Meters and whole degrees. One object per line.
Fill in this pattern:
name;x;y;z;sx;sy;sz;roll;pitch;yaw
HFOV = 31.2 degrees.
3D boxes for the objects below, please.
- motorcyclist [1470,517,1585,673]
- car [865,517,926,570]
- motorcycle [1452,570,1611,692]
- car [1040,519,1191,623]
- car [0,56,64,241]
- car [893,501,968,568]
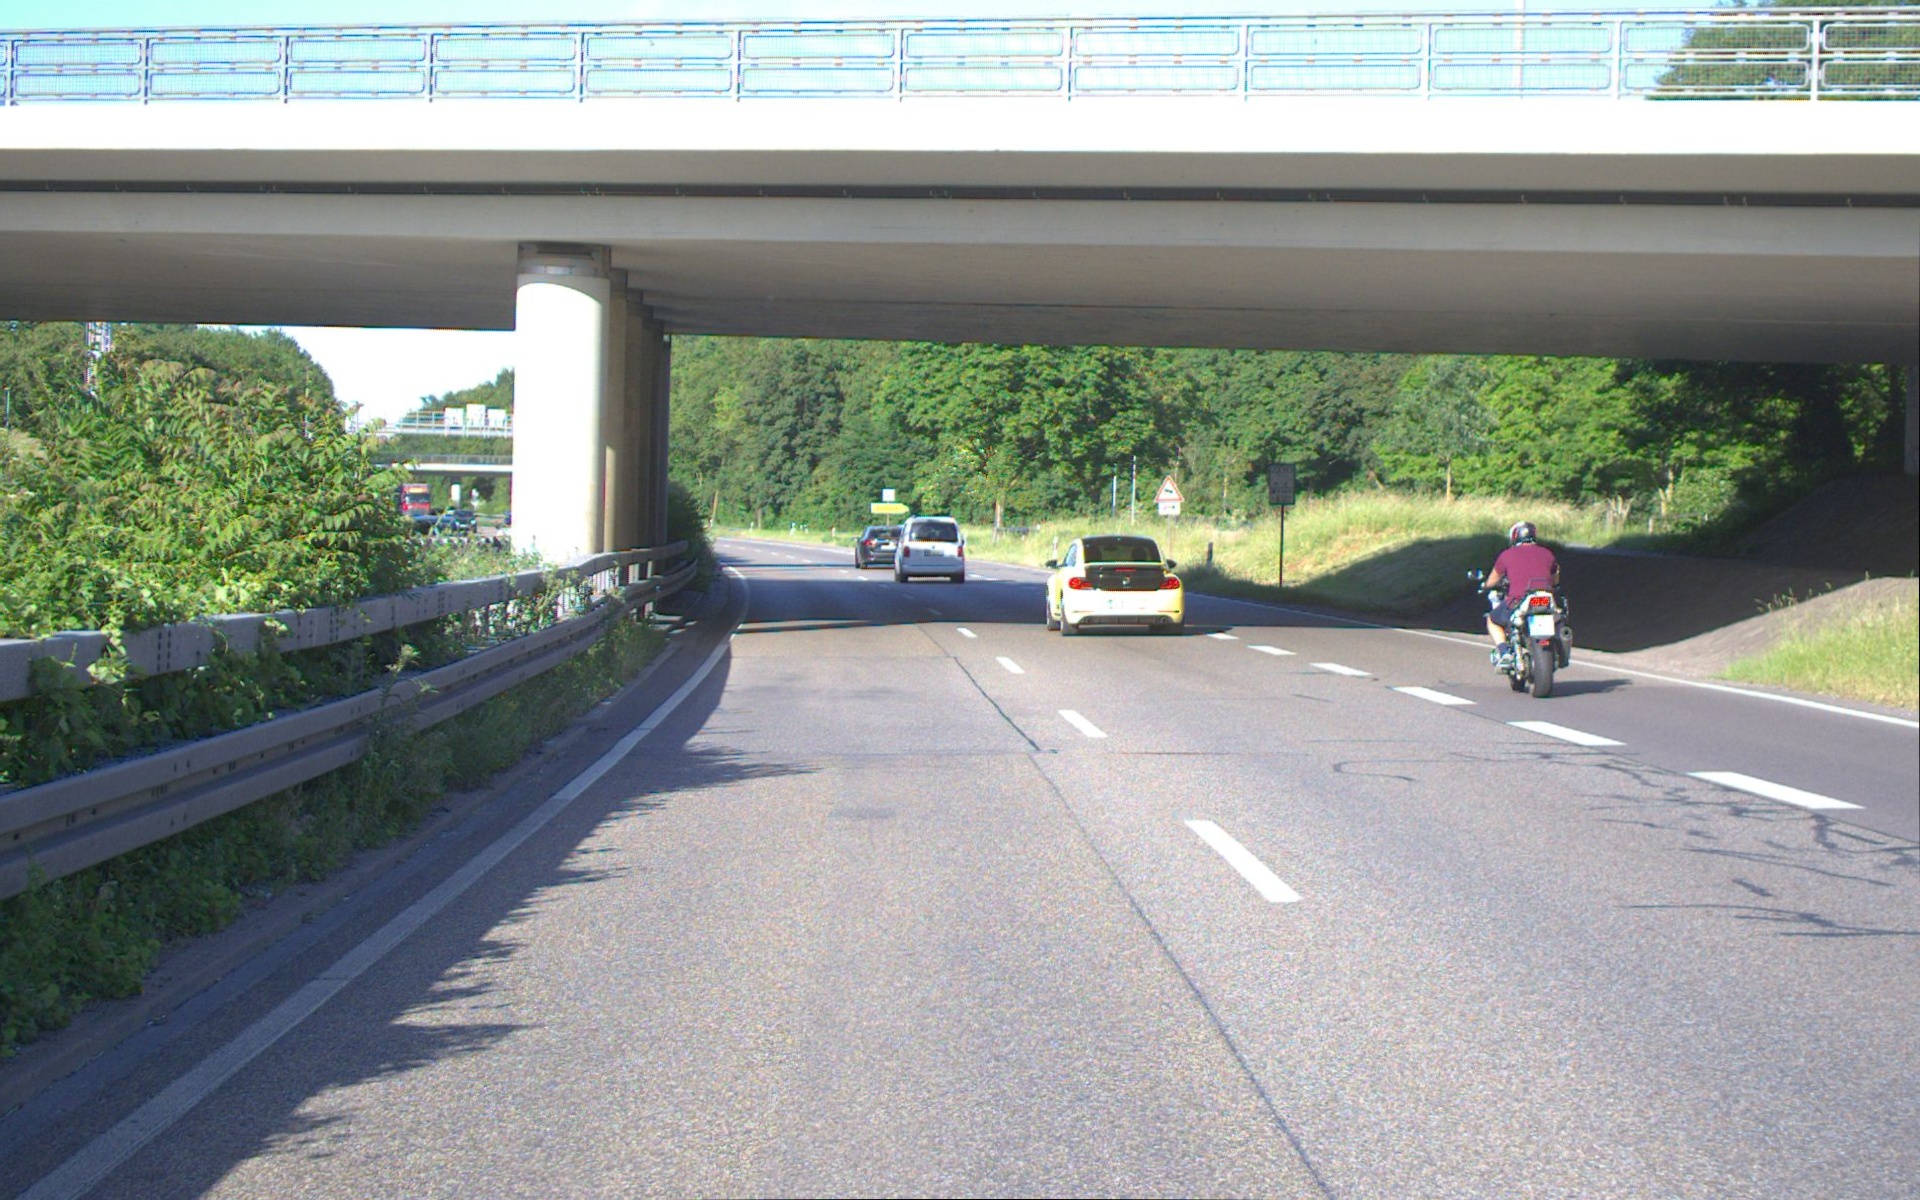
motorcyclist;5.366;-0.060;32.570;0.816;1.442;1.094;1;1;-4
car;-2.224;-1.954;117.477;1.897;1.761;4.001;0;1;-4
motorcycle;5.364;0.269;32.463;0.816;1.066;2.836;1;1;-4
car;2.281;-0.464;51.364;1.897;1.466;4.001;0;2;-2
car;-17.099;-7.346;56.213;4.314;2.796;2.079;2;1;22
car;-0.823;-1.778;93.902;1.897;1.761;4.001;-1;1;-3
